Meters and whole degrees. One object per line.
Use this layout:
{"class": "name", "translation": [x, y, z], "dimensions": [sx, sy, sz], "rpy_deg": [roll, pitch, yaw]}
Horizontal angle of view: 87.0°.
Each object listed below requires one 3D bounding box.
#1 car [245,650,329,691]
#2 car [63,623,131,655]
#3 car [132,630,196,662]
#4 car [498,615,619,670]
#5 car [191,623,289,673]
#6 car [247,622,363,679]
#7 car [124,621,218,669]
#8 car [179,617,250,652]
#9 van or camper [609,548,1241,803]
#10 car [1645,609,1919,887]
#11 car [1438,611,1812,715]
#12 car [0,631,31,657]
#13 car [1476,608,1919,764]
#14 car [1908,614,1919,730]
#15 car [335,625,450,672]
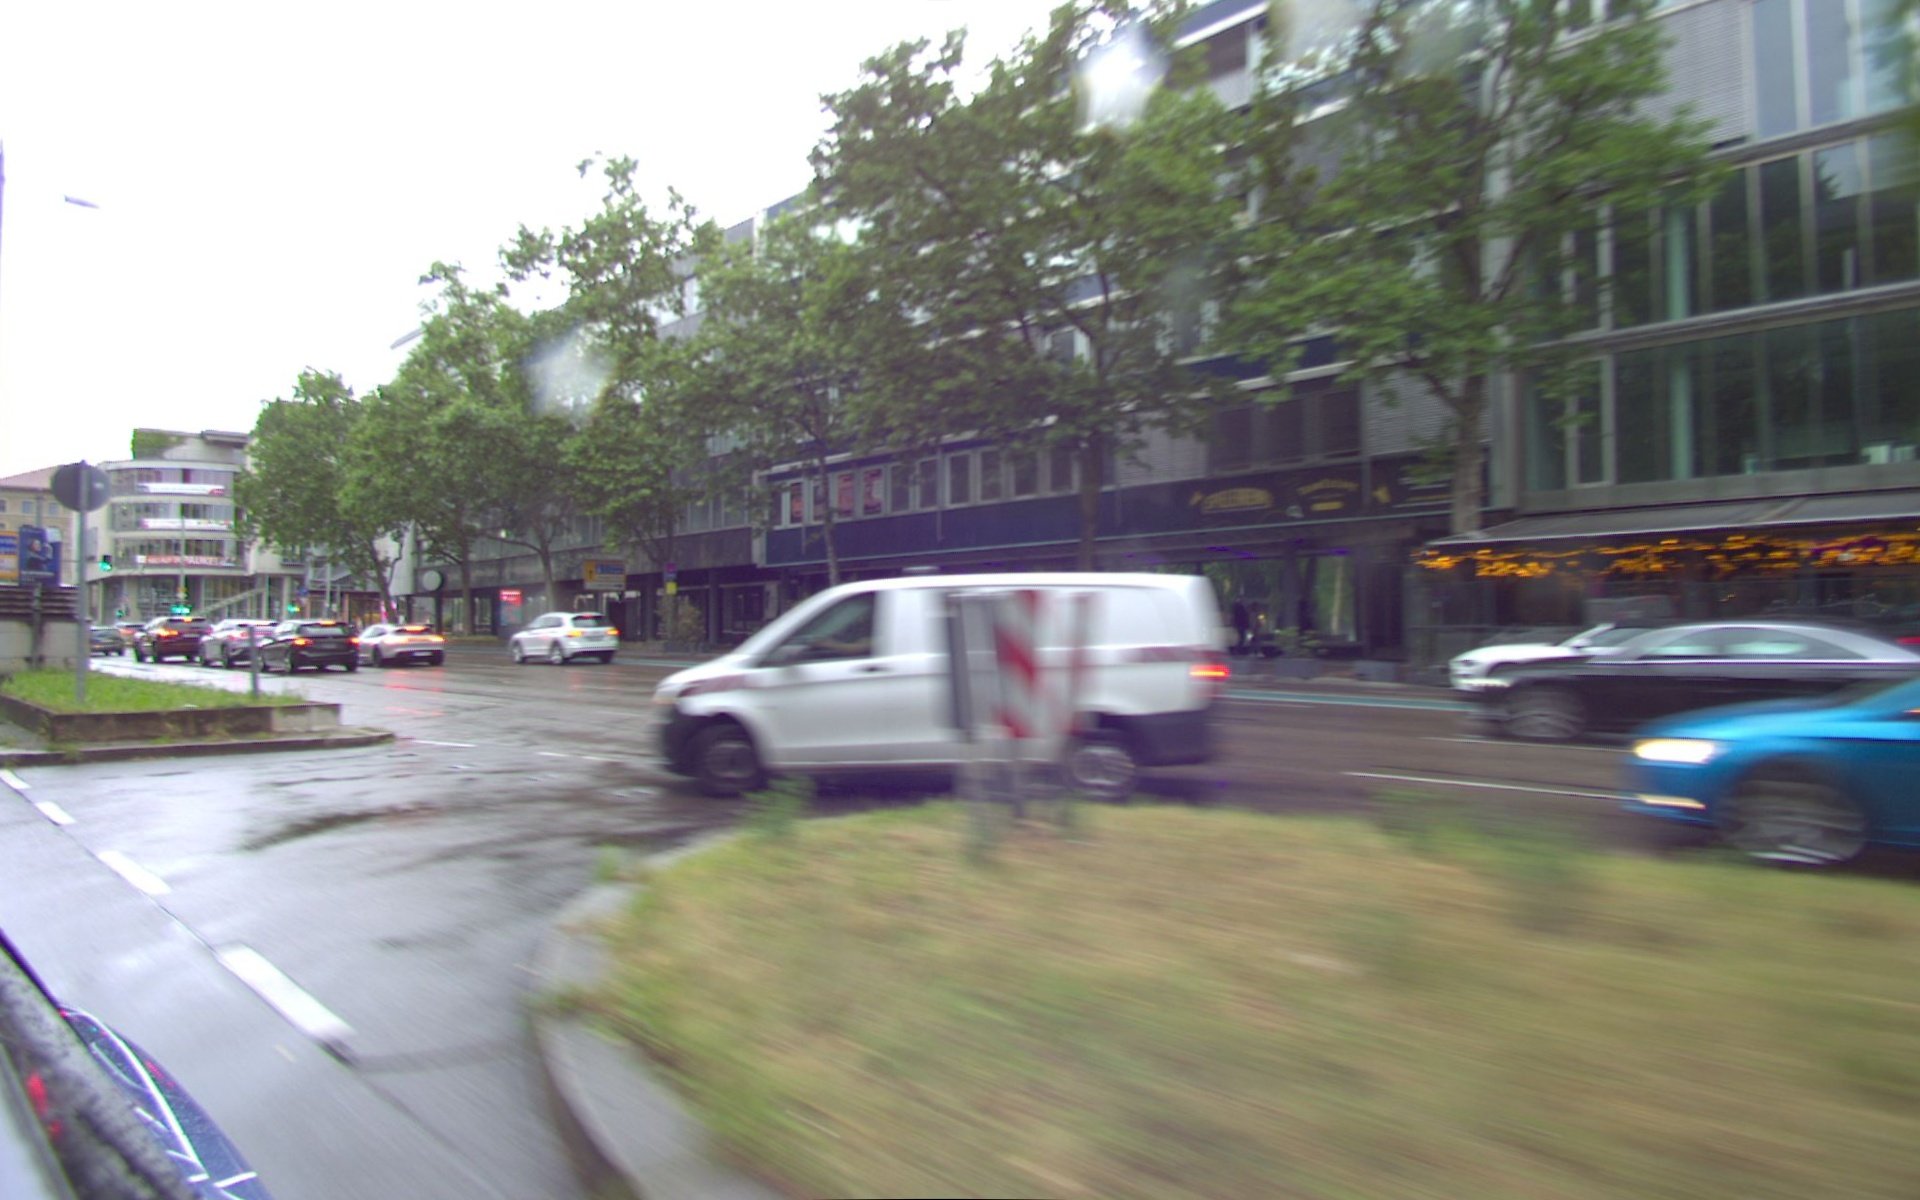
{"class": "car", "translation": [-27.388, 2.832, 41.153], "dimensions": [4.566, 1.502, 1.701], "rpy_deg": [-2, -2, 41]}
{"class": "car", "translation": [-42.008, 1.877, 49.229], "dimensions": [4.913, 1.462, 1.824], "rpy_deg": [-2, -2, 41]}
{"class": "car", "translation": [-41.710, 2.364, 52.994], "dimensions": [3.994, 1.577, 1.736], "rpy_deg": [-1, -1, 38]}
{"class": "car", "translation": [-13.050, 1.373, 32.764], "dimensions": [4.545, 1.627, 1.742], "rpy_deg": [-2, -1, 41]}
{"class": "car", "translation": [-24.852, 1.623, 34.874], "dimensions": [4.829, 1.585, 1.716], "rpy_deg": [-2, -2, 41]}
{"class": "car", "translation": [-19.679, 1.486, 30.328], "dimensions": [4.542, 1.564, 1.893], "rpy_deg": [-2, -2, 43]}
{"class": "car", "translation": [-30.915, 1.740, 39.604], "dimensions": [5.103, 1.780, 1.817], "rpy_deg": [-2, -2, 39]}
{"class": "car", "translation": [-35.364, 1.617, 47.971], "dimensions": [3.994, 1.577, 1.736], "rpy_deg": [-1, -1, 38]}
{"class": "van or camper", "translation": [-0.275, 0.638, 9.140], "dimensions": [5.194, 1.928, 1.993], "rpy_deg": [-1, -1, 11]}
{"class": "car", "translation": [6.589, 0.783, 5.626], "dimensions": [4.393, 1.493, 1.824], "rpy_deg": [-3, -2, 41]}
{"class": "car", "translation": [10.177, 0.925, 15.748], "dimensions": [4.680, 1.364, 1.543], "rpy_deg": [-2, -1, 41]}
{"class": "car", "translation": [-56.769, 2.632, 60.313], "dimensions": [3.429, 1.487, 1.699], "rpy_deg": [-2, -2, 41]}
{"class": "car", "translation": [8.300, 0.862, 11.471], "dimensions": [4.091, 1.487, 1.732], "rpy_deg": [-1, -2, 39]}
{"class": "car", "translation": [14.311, 0.894, 12.255], "dimensions": [3.998, 1.519, 1.818], "rpy_deg": [-2, -2, 41]}
{"class": "car", "translation": [-18.828, 1.573, 33.467], "dimensions": [4.957, 1.420, 1.945], "rpy_deg": [-2, -2, 43]}
